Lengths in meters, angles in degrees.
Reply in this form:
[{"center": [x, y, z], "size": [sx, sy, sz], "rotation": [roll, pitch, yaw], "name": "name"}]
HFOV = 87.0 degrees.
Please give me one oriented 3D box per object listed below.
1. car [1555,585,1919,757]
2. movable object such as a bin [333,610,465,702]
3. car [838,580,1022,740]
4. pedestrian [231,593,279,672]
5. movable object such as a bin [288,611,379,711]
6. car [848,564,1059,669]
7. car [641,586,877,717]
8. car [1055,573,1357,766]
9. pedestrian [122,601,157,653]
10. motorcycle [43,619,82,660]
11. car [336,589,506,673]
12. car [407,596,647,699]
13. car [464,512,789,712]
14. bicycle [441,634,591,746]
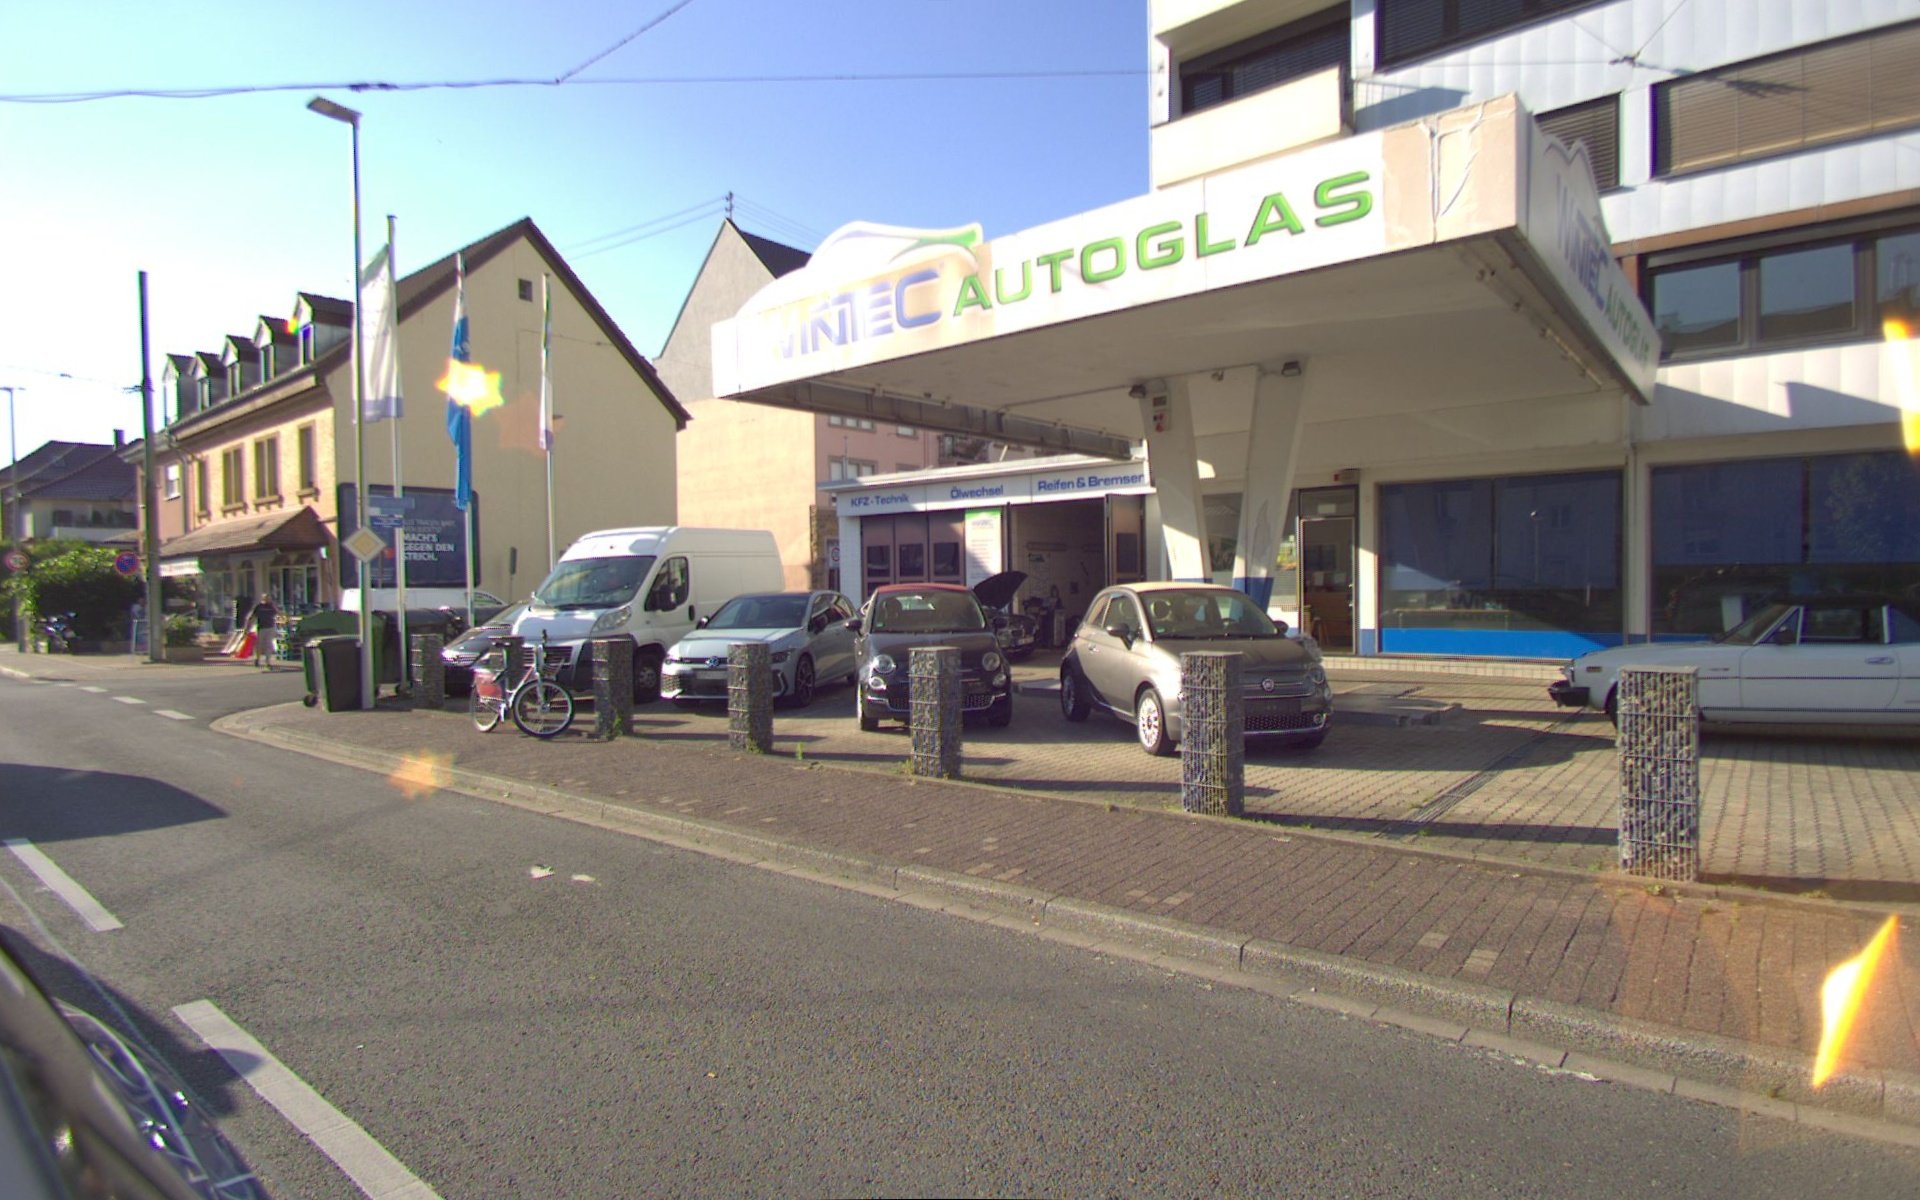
[{"center": [7.385, 0.546, 8.568], "size": [3.898, 1.308, 1.506], "rotation": [-1, -1, 37], "name": "car"}, {"center": [-9.577, 0.919, 17.367], "size": [1.039, 1.475, 1.787], "rotation": [-1, 0, 15], "name": "movable object such as a bin"}, {"center": [-0.483, 0.568, 11.506], "size": [1.569, 1.508, 3.443], "rotation": [-1, 0, -10], "name": "car"}, {"center": [-17.147, 0.776, 24.621], "size": [0.767, 1.866, 0.811], "rotation": [-1, 0, 43], "name": "pedestrian"}, {"center": [-9.706, 0.921, 15.711], "size": [1.030, 1.475, 0.798], "rotation": [-1, 0, -18], "name": "movable object such as a bin"}, {"center": [-0.206, 0.325, 20.917], "size": [4.255, 1.958, 1.720], "rotation": [-1, 0, 40], "name": "car"}, {"center": [-2.532, 0.592, 13.802], "size": [1.725, 1.508, 4.016], "rotation": [-1, 0, 12], "name": "car"}, {"center": [2.153, 0.539, 9.791], "size": [1.517, 1.497, 3.381], "rotation": [-1, 0, -11], "name": "car"}, {"center": [-27.649, 0.904, 34.099], "size": [0.859, 1.726, 0.799], "rotation": [-1, 0, 42], "name": "pedestrian"}, {"center": [-27.967, 1.208, 31.527], "size": [2.186, 1.226, 0.699], "rotation": [-1, 0, 43], "name": "motorcycle"}, {"center": [-13.893, 0.743, 26.249], "size": [1.449, 2.029, 3.628], "rotation": [-1, 0, 37], "name": "car"}, {"center": [-7.062, 0.707, 17.006], "size": [1.725, 1.488, 4.016], "rotation": [-1, 0, 12], "name": "car"}, {"center": [-4.688, 0.135, 15.221], "size": [2.098, 2.472, 4.963], "rotation": [-1, 0, 18], "name": "car"}, {"center": [-4.896, 0.945, 11.119], "size": [1.789, 1.094, 0.716], "rotation": [-1, 1, 37], "name": "bicycle"}]
